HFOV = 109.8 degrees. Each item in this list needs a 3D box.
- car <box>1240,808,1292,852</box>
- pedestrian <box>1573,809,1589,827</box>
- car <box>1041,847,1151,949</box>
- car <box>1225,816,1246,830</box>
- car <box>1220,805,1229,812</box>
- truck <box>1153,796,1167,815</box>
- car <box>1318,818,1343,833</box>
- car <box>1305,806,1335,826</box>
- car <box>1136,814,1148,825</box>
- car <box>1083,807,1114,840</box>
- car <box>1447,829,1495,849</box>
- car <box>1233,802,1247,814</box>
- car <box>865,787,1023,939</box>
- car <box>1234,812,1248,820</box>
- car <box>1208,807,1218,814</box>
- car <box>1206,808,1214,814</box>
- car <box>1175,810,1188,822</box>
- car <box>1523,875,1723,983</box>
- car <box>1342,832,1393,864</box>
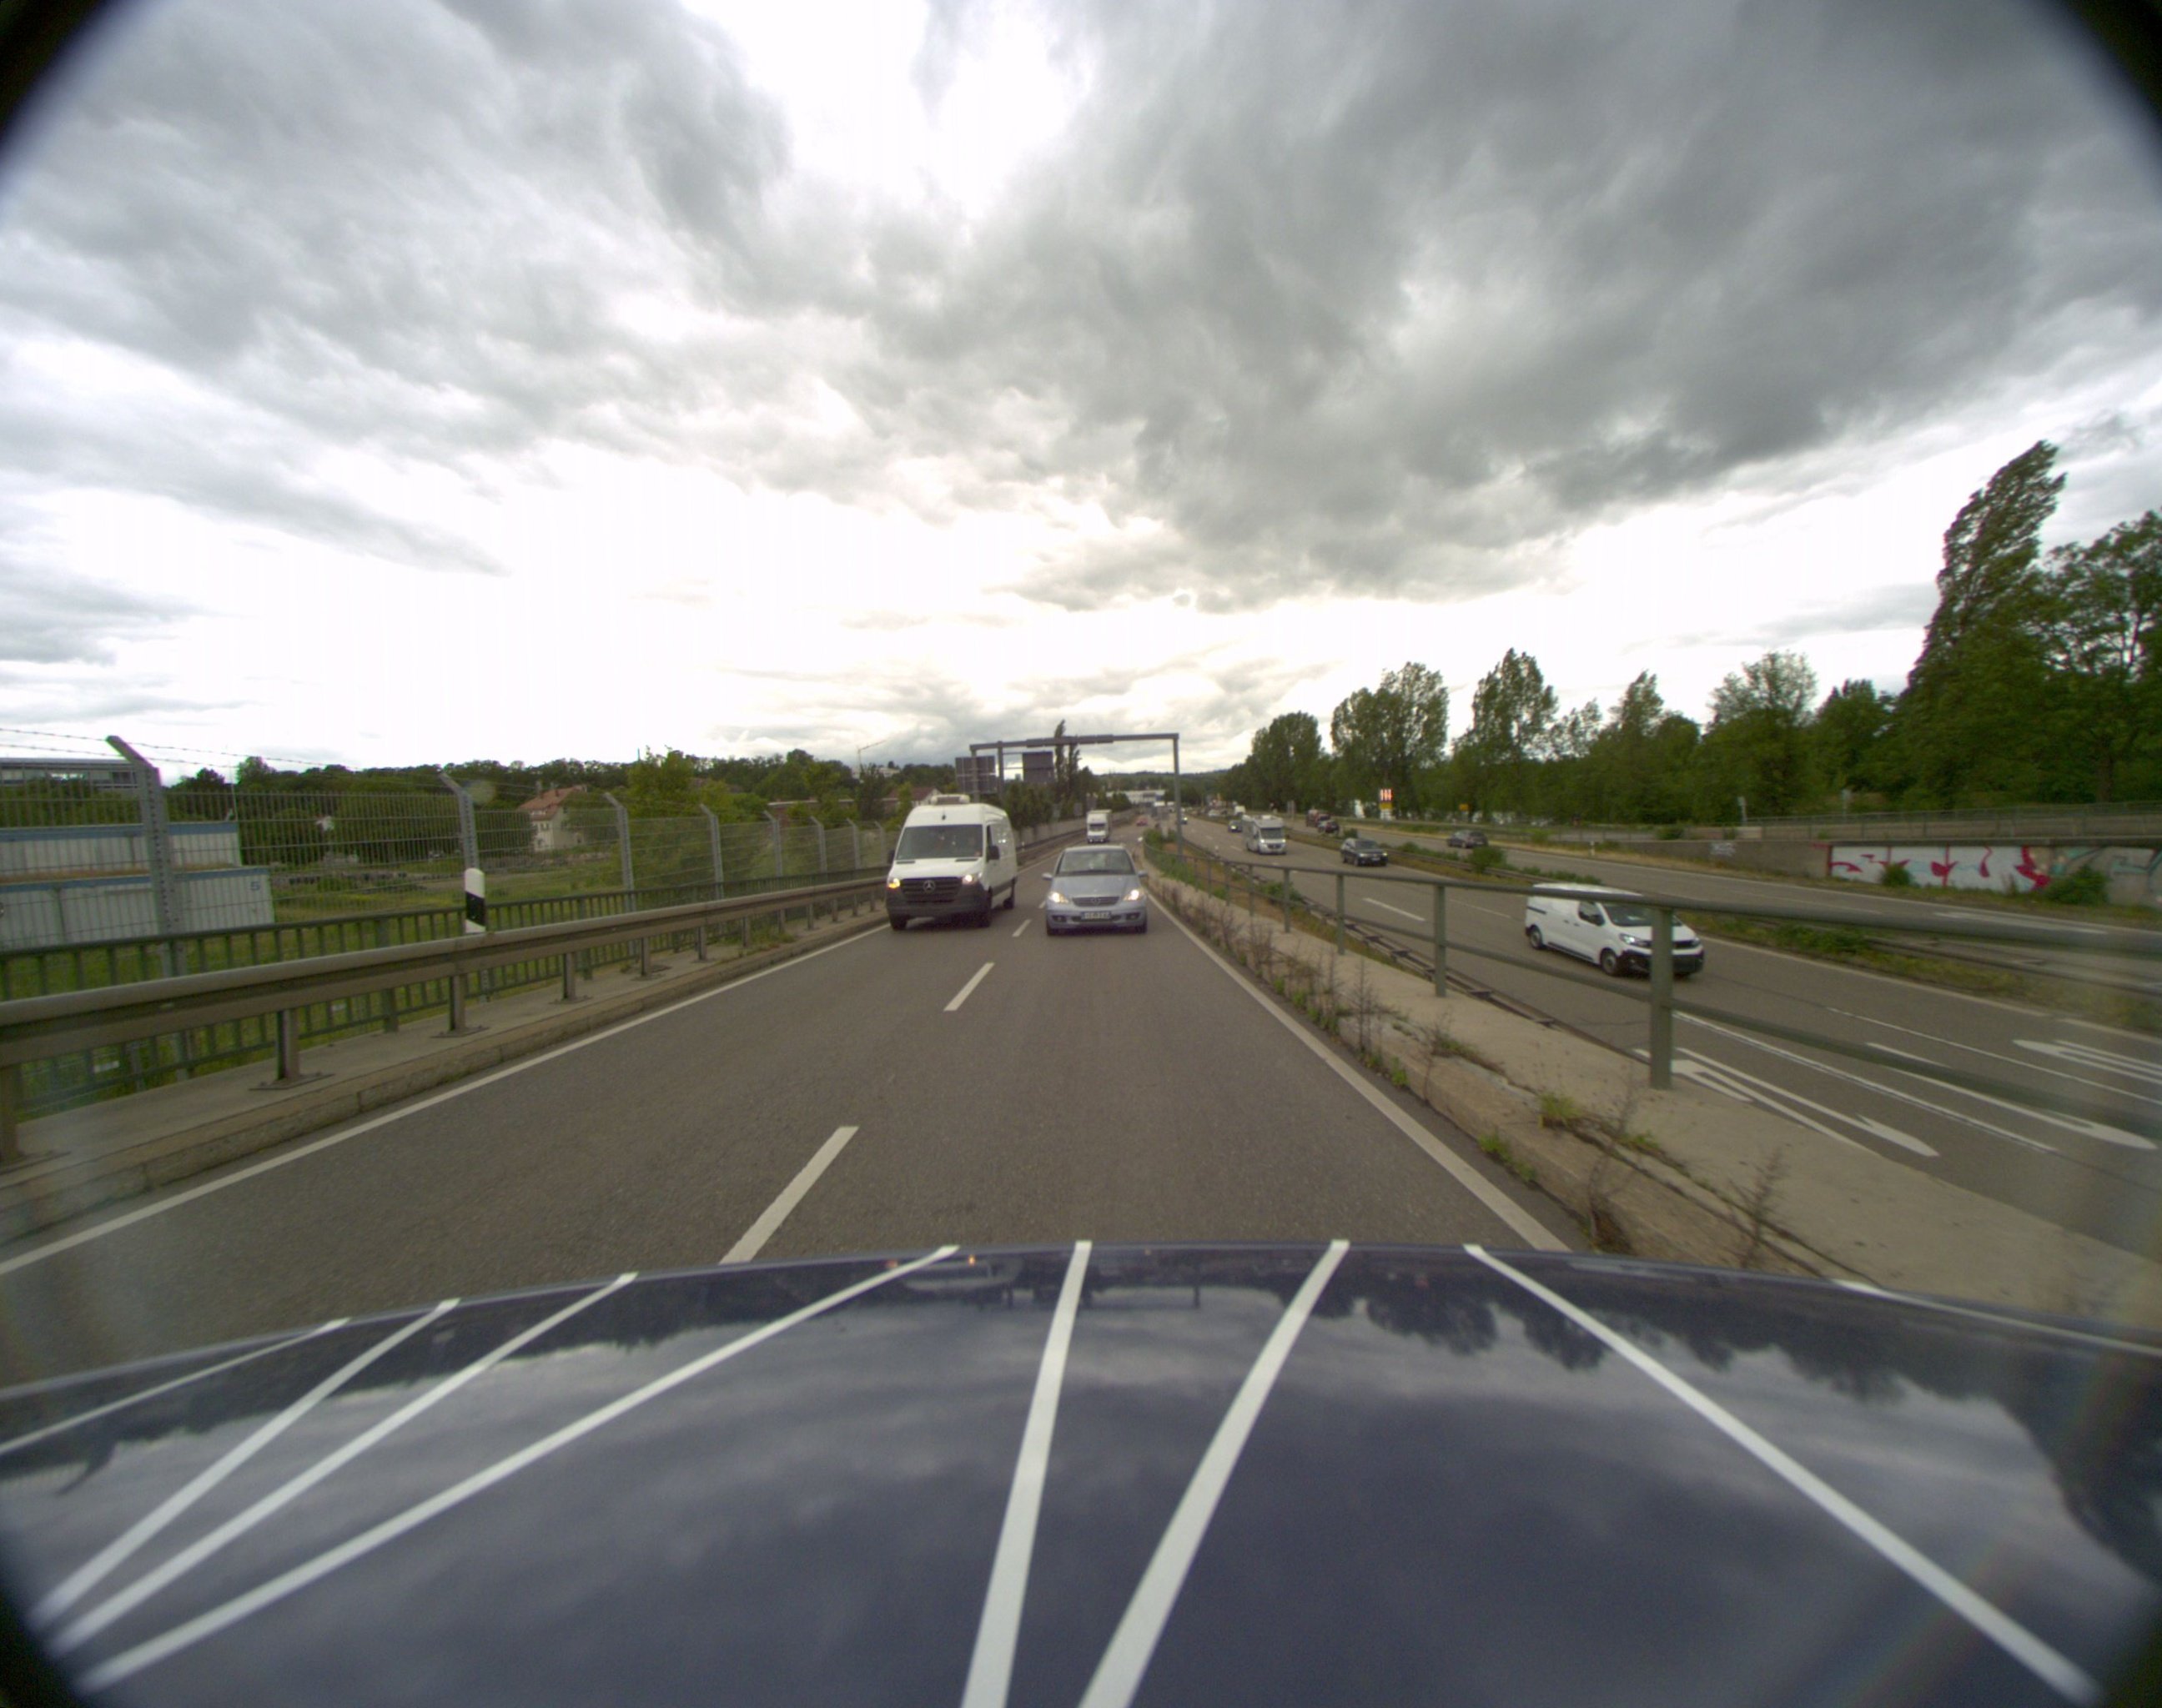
[{"bbox_3d":[14.664,-2.018,60.883,2.367,3.223,7.654,0,4,1],"label":"car"},{"bbox_3d":[48.017,-3.456,73.007,0.832,1.696,1.077,-3,5,1],"label":"pedestrian"},{"bbox_3d":[0.271,0.718,14.673,1.780,1.578,3.999,-2,1,1],"label":"car"},{"bbox_3d":[19.306,-3.912,95.122,1.754,1.562,4.216,-2,4,1],"label":"car"},{"bbox_3d":[42.049,-13.313,223.055,1.903,1.641,3.931,-2,1,1],"label":"car"},{"bbox_3d":[18.603,-11.427,179.046,2.758,4.230,6.692,-1,5,0],"label":"truck"},{"bbox_3d":[28.827,-3.330,87.768,1.668,1.493,3.855,-1,5,1],"label":"car"},{"bbox_3d":[33.265,-5.341,105.811,2.250,2.534,6.109,-2,4,0],"label":"car"},{"bbox_3d":[10.188,-5.766,127.419,1.780,1.578,4.000,-2,1,2],"label":"car"},{"bbox_3d":[1.955,-3.227,80.357,2.664,3.311,7.090,-2,2,5],"label":"car"},{"bbox_3d":[31.187,-1.213,60.853,1.715,1.369,4.107,-1,5,0],"label":"car"},{"bbox_3d":[38.252,-11.107,182.585,2.215,2.765,5.356,-1,5,1],"label":"car"},{"bbox_3d":[-2.814,0.093,17.601,2.115,2.768,6.778,-2,1,2],"label":"car"},{"bbox_3d":[33.299,-7.945,158.140,1.903,1.641,4.330,-1,5,1],"label":"car"},{"bbox_3d":[31.395,-10.390,180.981,1.761,1.642,3.928,-2,5,1],"label":"car"},{"bbox_3d":[41.874,-13.987,246.341,1.903,1.641,3.929,-2,4,1],"label":"car"},{"bbox_3d":[17.270,-6.543,130.688,1.845,1.789,4.279,-2,1,1],"label":"car"},{"bbox_3d":[13.927,1.808,19.983,1.954,1.925,4.893,-2,5,4],"label":"car"},{"bbox_3d":[18.280,-0.416,48.738,1.844,1.704,4.277,-1,5,3],"label":"car"}]
